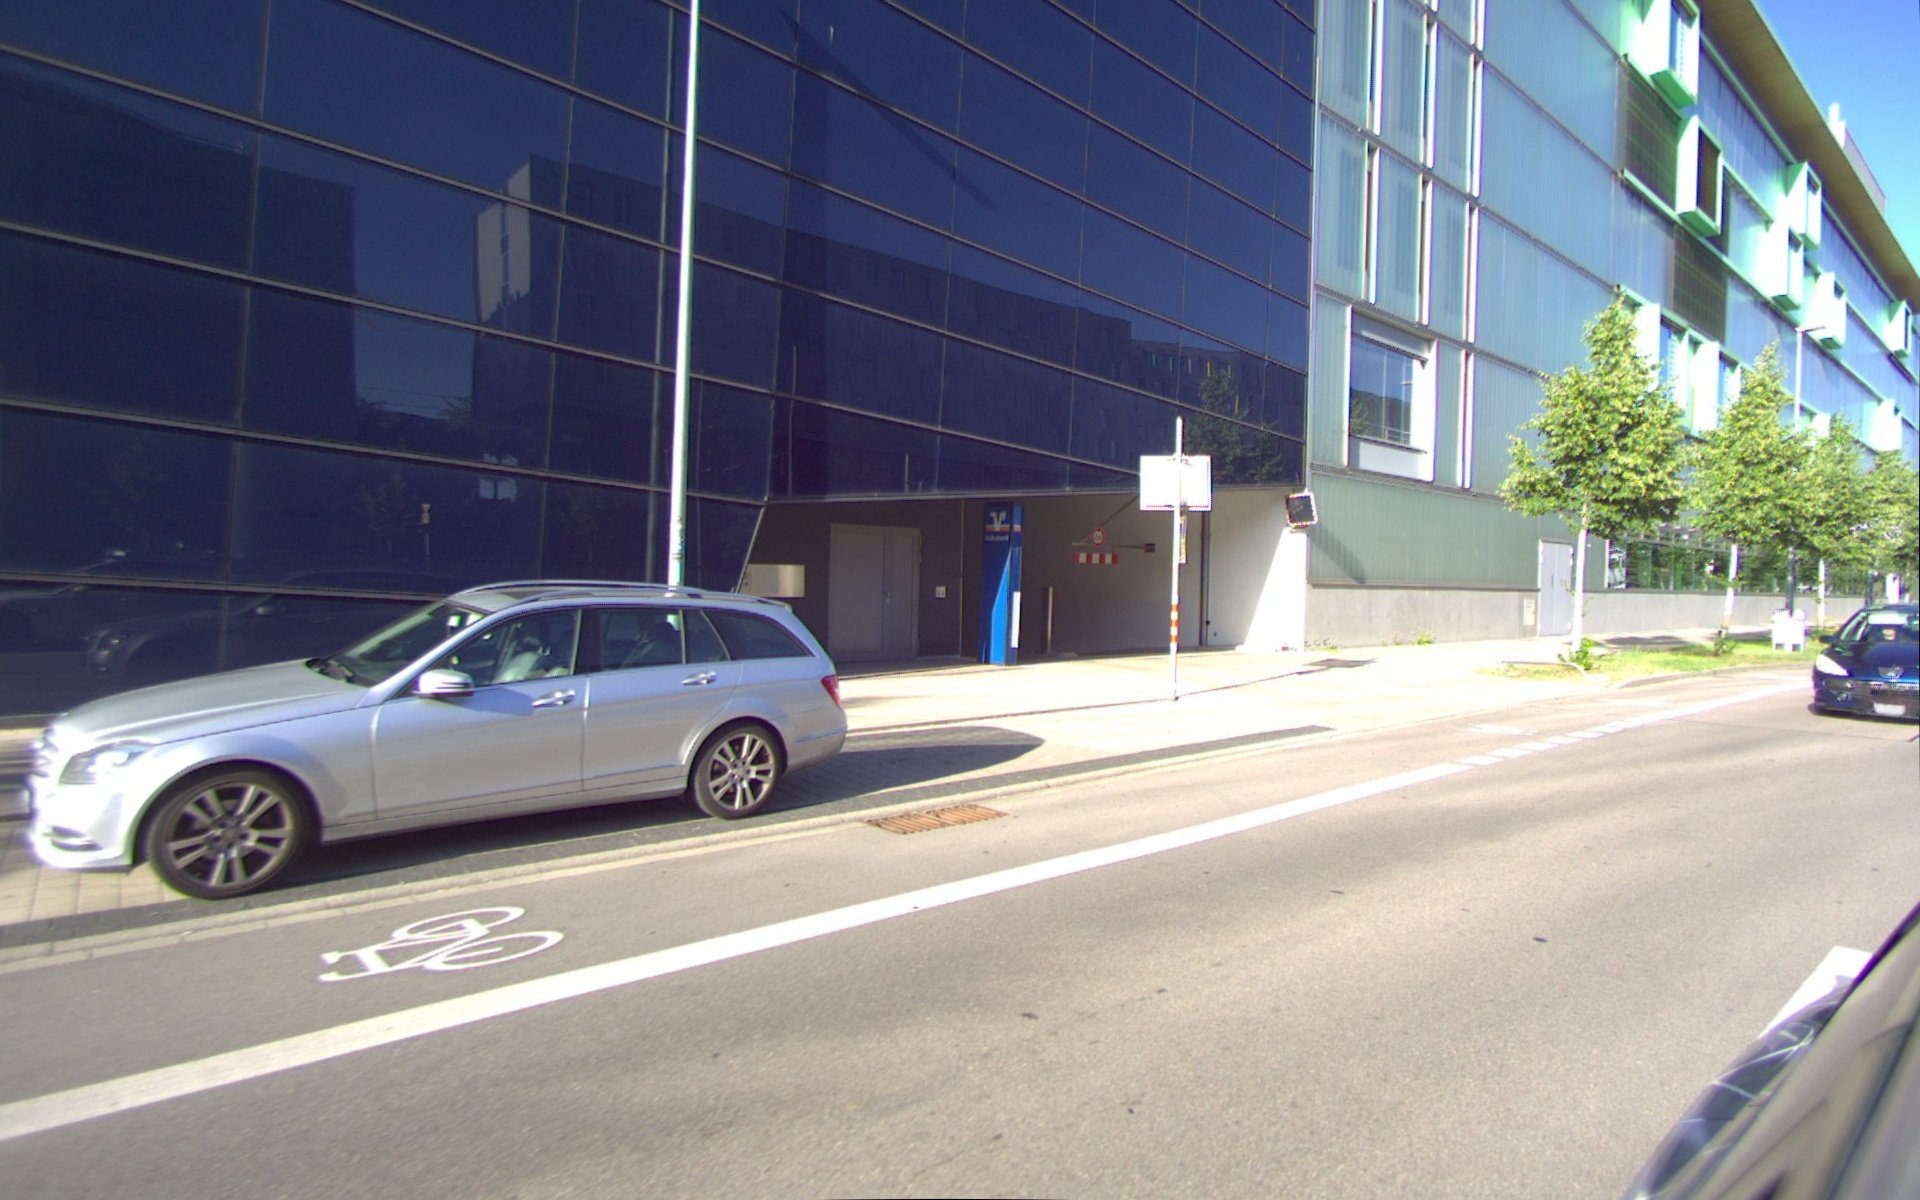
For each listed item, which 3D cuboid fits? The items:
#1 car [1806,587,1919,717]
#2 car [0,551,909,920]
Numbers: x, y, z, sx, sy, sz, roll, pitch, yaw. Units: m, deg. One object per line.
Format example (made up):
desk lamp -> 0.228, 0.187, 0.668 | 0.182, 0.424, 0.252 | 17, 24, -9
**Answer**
car -> 13.113, 0.611, 13.523 | 4.520, 1.546, 1.803 | 0, 0, -37
car -> -2.789, 0.530, 6.483 | 4.769, 1.499, 1.857 | 0, 3, -41
